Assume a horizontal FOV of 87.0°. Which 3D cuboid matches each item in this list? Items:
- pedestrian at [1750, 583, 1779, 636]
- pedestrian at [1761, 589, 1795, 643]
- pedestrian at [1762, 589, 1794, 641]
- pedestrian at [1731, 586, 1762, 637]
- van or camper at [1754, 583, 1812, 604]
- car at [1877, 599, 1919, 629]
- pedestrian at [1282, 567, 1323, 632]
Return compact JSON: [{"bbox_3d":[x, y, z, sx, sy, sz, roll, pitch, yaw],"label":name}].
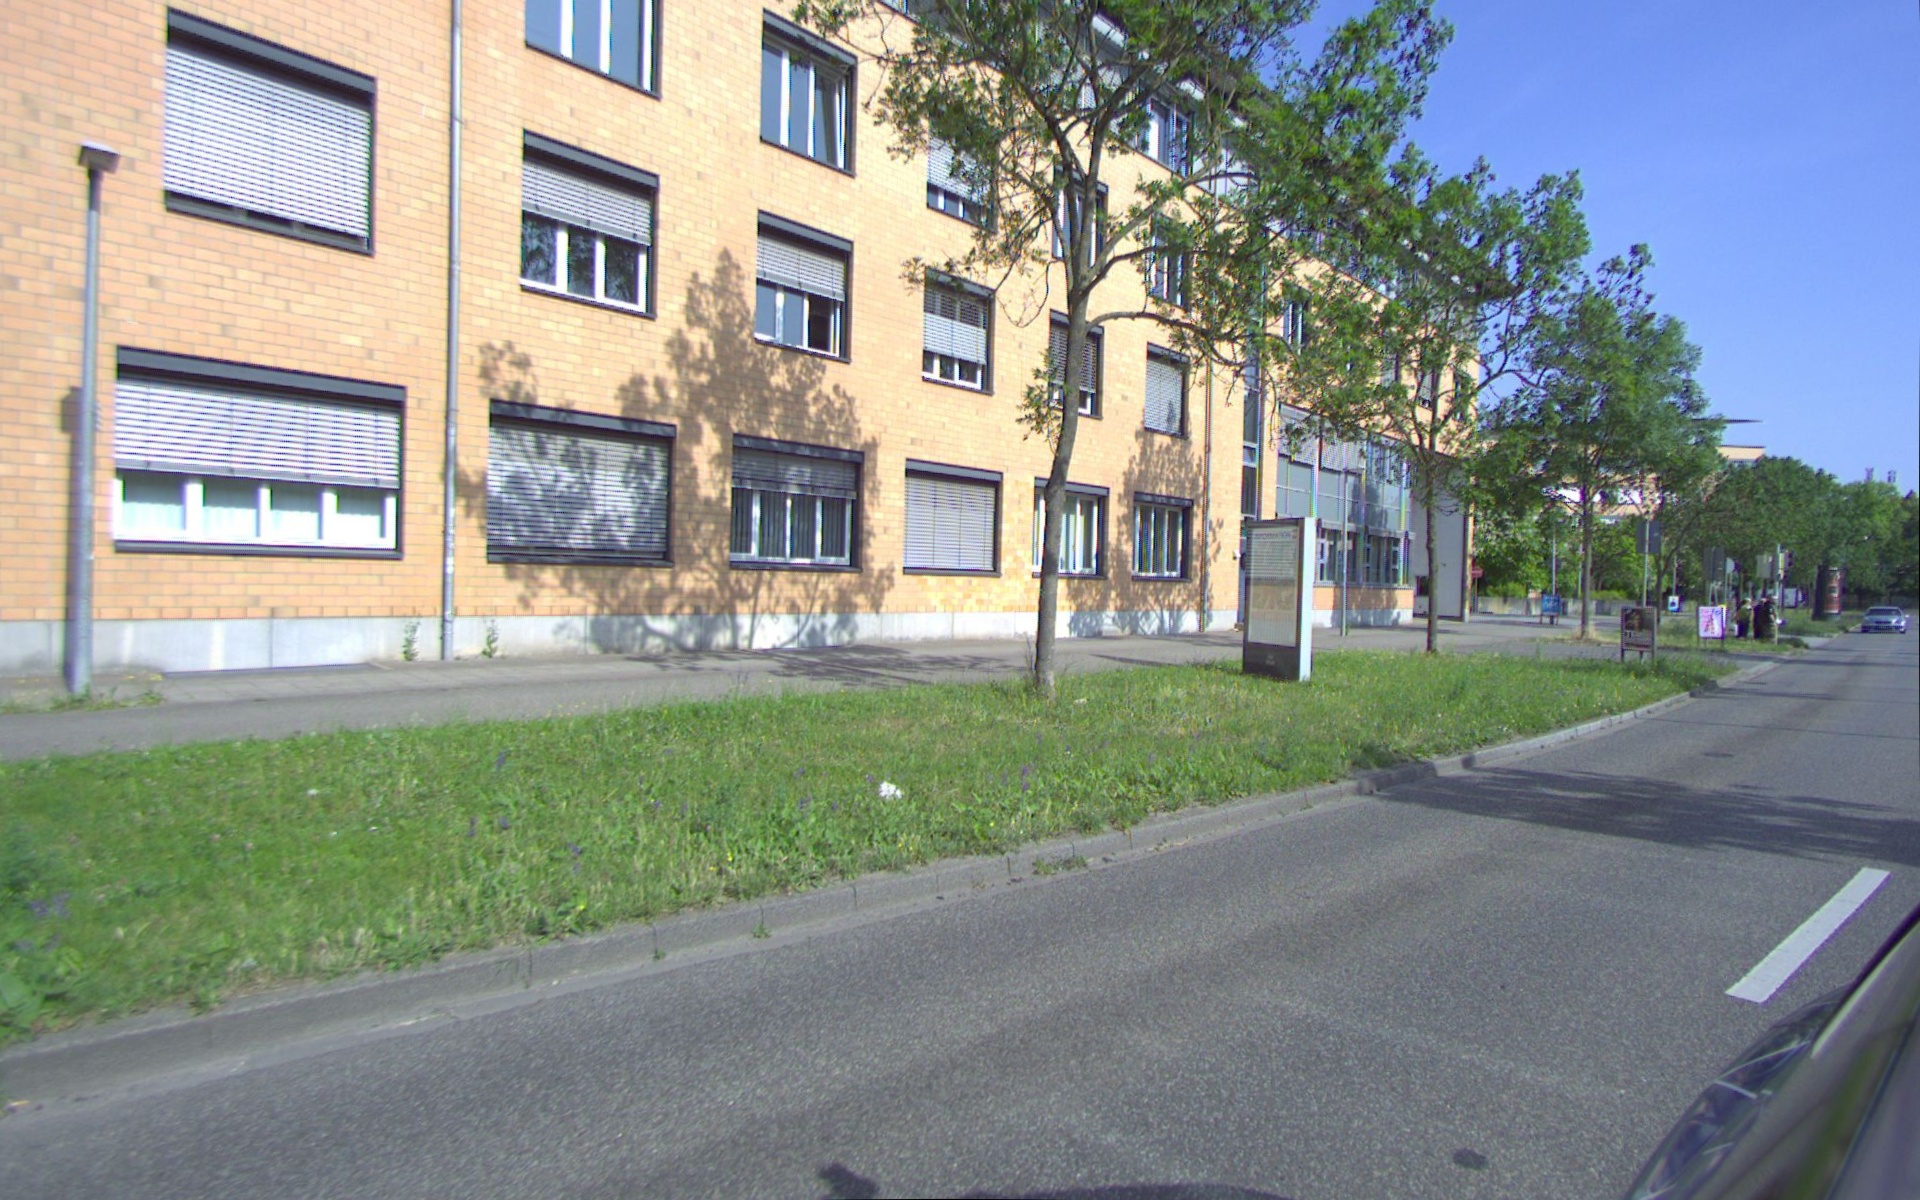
[{"bbox_3d":[26.337,0.307,33.147,0.634,1.666,0.600,4,3,40],"label":"pedestrian"},{"bbox_3d":[25.851,0.490,31.983,0.705,1.666,0.679,5,3,42],"label":"pedestrian"},{"bbox_3d":[27.134,0.481,33.583,0.704,1.666,0.680,4,3,38],"label":"pedestrian"},{"bbox_3d":[26.964,0.385,34.707,0.705,1.666,0.679,5,3,42],"label":"pedestrian"},{"bbox_3d":[106.897,-0.886,131.464,5.780,2.727,2.372,1,1,42],"label":"van or camper"},{"bbox_3d":[48.883,0.697,52.739,1.624,1.503,3.315,0,0,42],"label":"car"},{"bbox_3d":[9.086,-0.019,26.827,0.696,1.677,0.761,4,3,44],"label":"pedestrian"}]
